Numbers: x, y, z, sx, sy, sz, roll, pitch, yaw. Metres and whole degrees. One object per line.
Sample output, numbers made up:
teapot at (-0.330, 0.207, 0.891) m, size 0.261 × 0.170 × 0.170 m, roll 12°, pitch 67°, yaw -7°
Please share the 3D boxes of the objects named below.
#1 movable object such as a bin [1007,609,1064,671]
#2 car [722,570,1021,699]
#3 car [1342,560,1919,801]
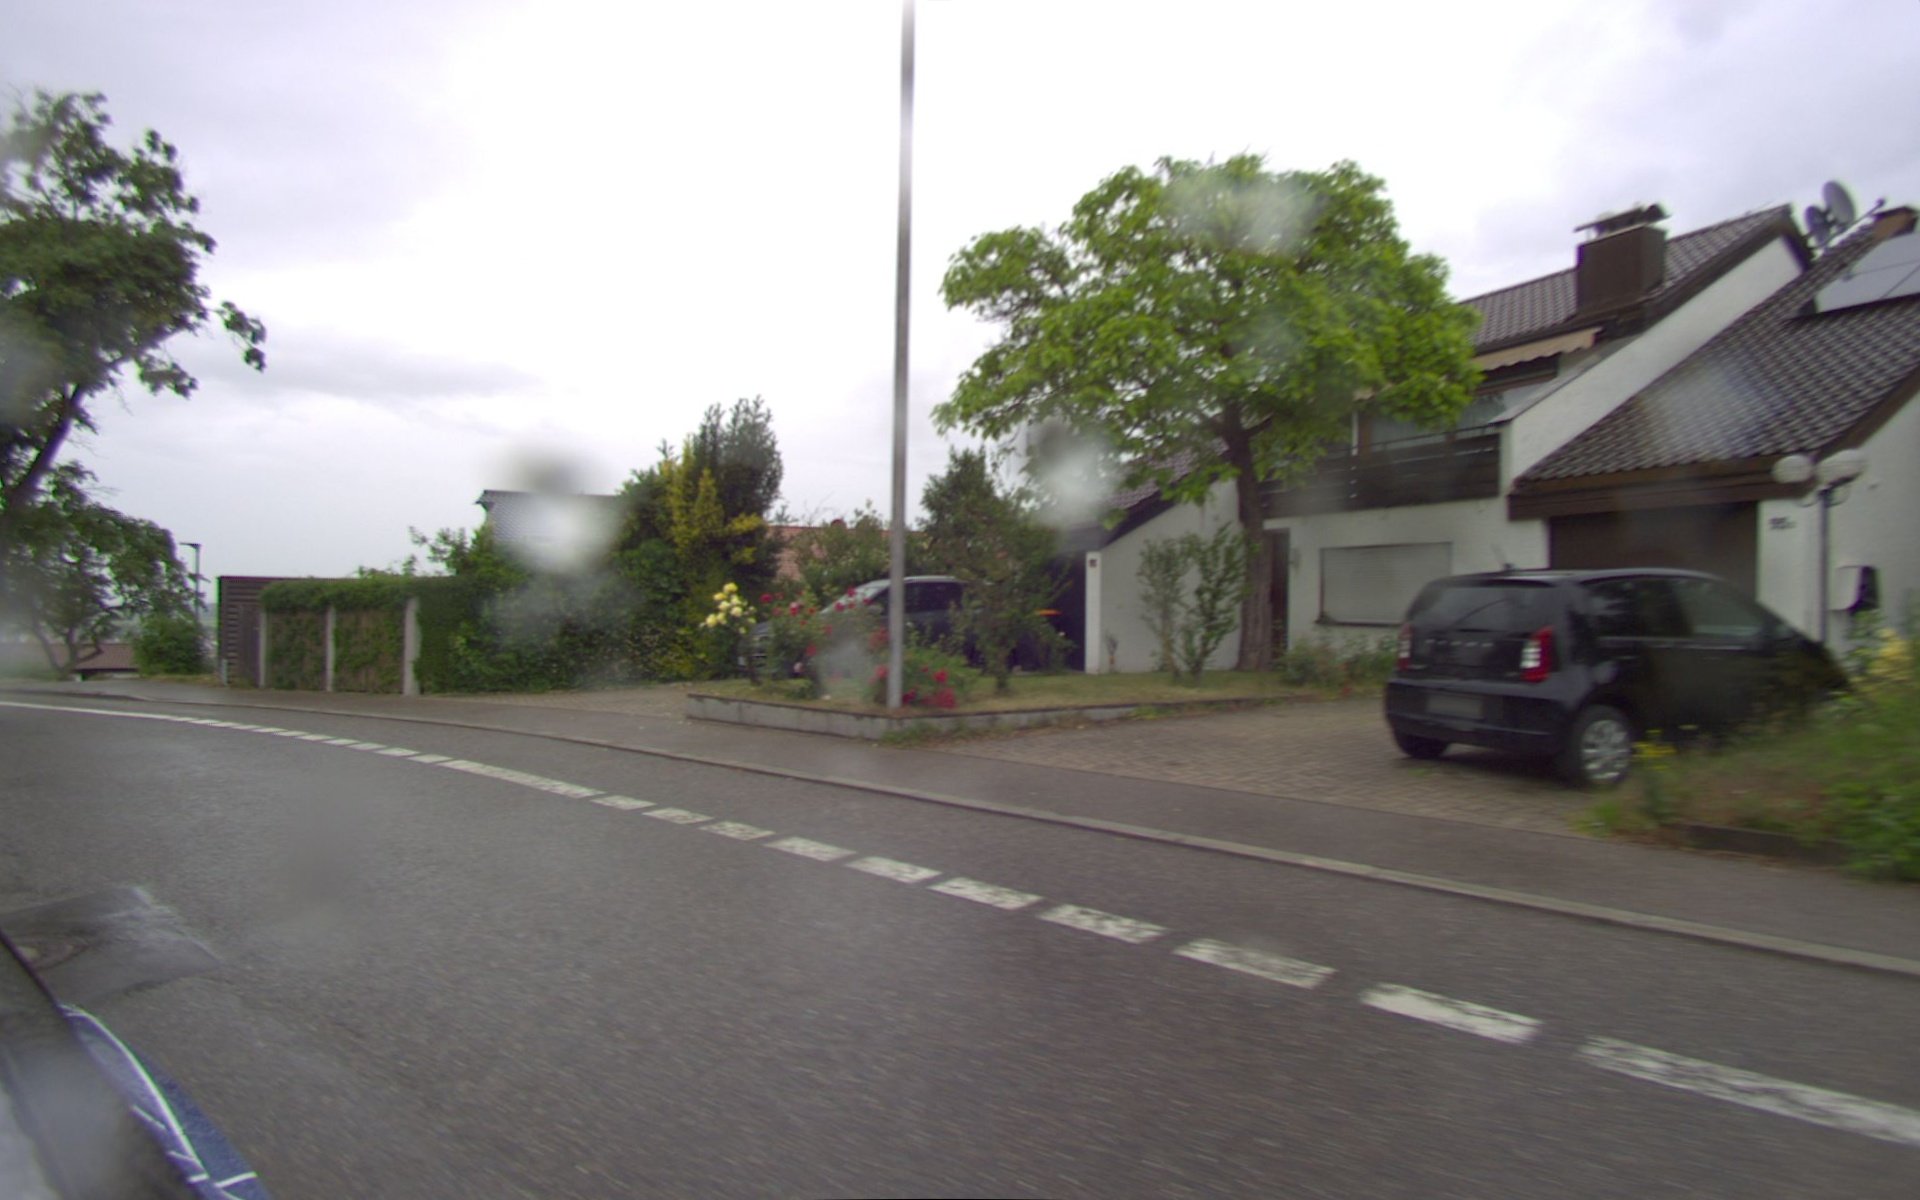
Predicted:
movable object such as a bin at (1.324, 0.696, 17.860) m, size 0.707 × 1.044 × 0.735 m, roll -1°, pitch -1°, yaw -27°
car at (-1.330, 0.445, 15.008) m, size 3.931 × 1.644 × 2.021 m, roll -2°, pitch -1°, yaw -24°
car at (5.169, 0.442, 7.566) m, size 3.932 × 1.399 × 1.947 m, roll -2°, pitch 1°, yaw -17°
